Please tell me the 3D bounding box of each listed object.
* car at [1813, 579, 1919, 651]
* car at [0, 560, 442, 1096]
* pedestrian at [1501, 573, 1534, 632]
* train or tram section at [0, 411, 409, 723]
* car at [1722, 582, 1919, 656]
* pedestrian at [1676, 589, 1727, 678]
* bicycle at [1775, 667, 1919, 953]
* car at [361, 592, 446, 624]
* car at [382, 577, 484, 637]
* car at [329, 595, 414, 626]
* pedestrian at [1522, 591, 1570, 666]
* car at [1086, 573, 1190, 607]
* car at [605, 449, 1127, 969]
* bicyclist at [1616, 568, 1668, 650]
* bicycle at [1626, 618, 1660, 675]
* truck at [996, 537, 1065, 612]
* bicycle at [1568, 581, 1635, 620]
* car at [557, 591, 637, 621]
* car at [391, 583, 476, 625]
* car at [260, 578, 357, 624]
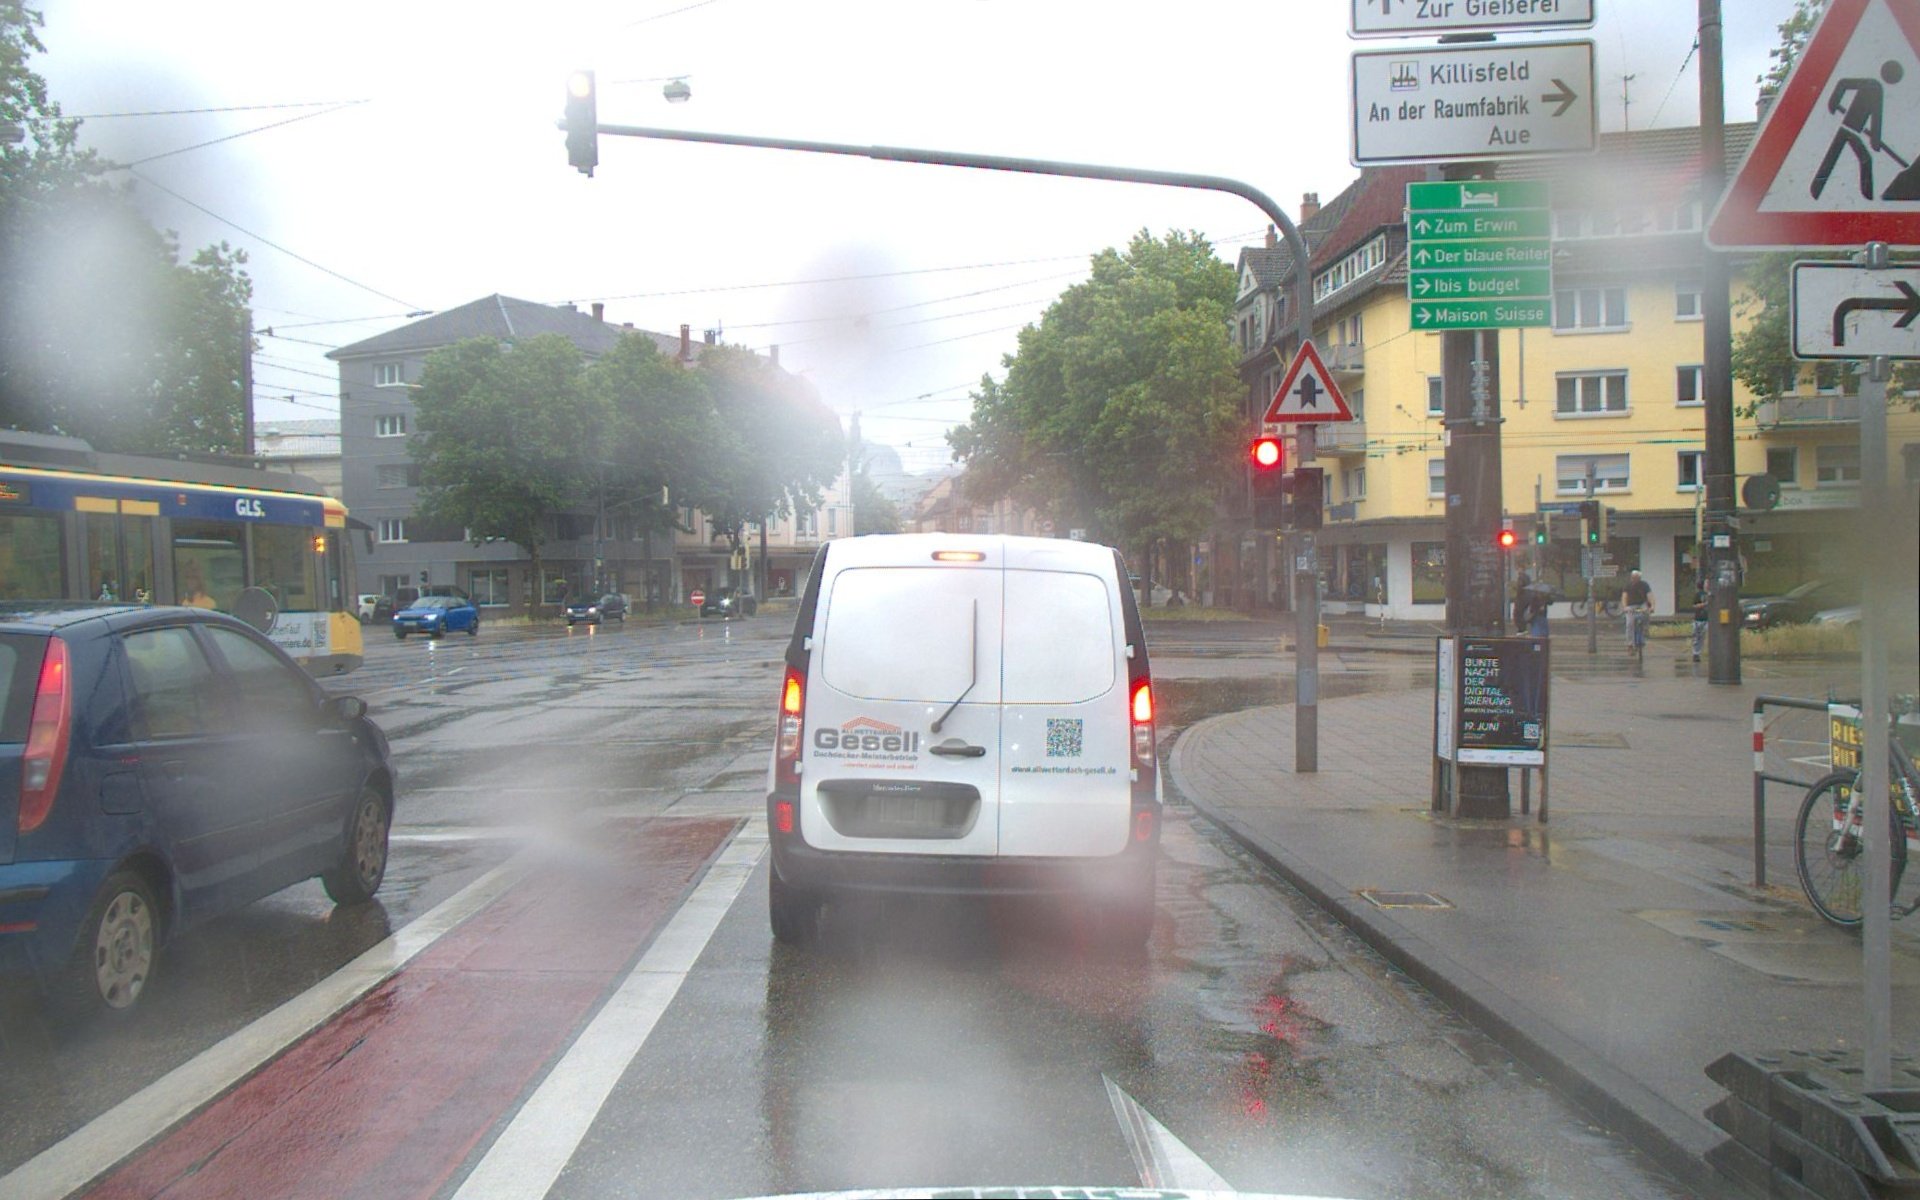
[{"bbox_3d":[20.922,0.307,36.008,3.854,1.516,1.808,0,1,15],"label":"car"},{"bbox_3d":[-3.572,0.675,6.847,1.692,1.606,3.820,0,0,-1],"label":"car"},{"bbox_3d":[14.616,0.069,43.362,0.615,1.526,0.546,1,0,-33],"label":"pedestrian"},{"bbox_3d":[-12.154,-0.403,20.122,3.465,3.472,15.517,1,0,9],"label":"train or tram section"},{"bbox_3d":[20.862,0.462,39.082,4.832,1.672,2.001,0,-2,11],"label":"car"},{"bbox_3d":[14.509,0.637,32.380,0.886,1.698,1.019,0,0,23],"label":"pedestrian"},{"bbox_3d":[4.256,0.912,7.089,0.503,1.126,2.017,3,0,1],"label":"bicycle"},{"bbox_3d":[-28.886,0.387,85.986,1.954,1.556,3.997,0,2,26],"label":"car"},{"bbox_3d":[-18.770,0.237,59.041,1.951,2.049,4.003,0,0,7],"label":"car"},{"bbox_3d":[-30.979,0.526,87.168,1.915,1.522,3.997,0,2,26],"label":"car"},{"bbox_3d":[12.336,0.591,34.822,0.809,1.561,0.614,1,0,-39],"label":"pedestrian"},{"bbox_3d":[7.399,-0.419,69.029,4.088,1.362,1.518,0,1,-8],"label":"car"},{"bbox_3d":[-0.407,0.434,9.028,2.058,2.047,4.962,0,0,-1],"label":"car"},{"bbox_3d":[13.571,0.169,32.935,0.860,1.611,0.861,0,0,17],"label":"bicyclist"},{"bbox_3d":[13.585,0.908,32.929,0.449,1.045,1.903,0,1,17],"label":"bicycle"},{"bbox_3d":[5.362,-1.795,122.069,3.395,5.176,15.319,0,0,9],"label":"truck"},{"bbox_3d":[21.553,0.005,55.600,2.056,1.283,0.532,0,1,14],"label":"bicycle"},{"bbox_3d":[-16.464,0.262,75.193,1.909,1.260,4.003,0,2,16],"label":"car"},{"bbox_3d":[-26.800,0.189,84.299,1.954,2.049,3.996,0,0,26],"label":"car"},{"bbox_3d":[-34.211,0.006,87.001,1.953,2.236,4.787,1,2,22],"label":"car"}]
